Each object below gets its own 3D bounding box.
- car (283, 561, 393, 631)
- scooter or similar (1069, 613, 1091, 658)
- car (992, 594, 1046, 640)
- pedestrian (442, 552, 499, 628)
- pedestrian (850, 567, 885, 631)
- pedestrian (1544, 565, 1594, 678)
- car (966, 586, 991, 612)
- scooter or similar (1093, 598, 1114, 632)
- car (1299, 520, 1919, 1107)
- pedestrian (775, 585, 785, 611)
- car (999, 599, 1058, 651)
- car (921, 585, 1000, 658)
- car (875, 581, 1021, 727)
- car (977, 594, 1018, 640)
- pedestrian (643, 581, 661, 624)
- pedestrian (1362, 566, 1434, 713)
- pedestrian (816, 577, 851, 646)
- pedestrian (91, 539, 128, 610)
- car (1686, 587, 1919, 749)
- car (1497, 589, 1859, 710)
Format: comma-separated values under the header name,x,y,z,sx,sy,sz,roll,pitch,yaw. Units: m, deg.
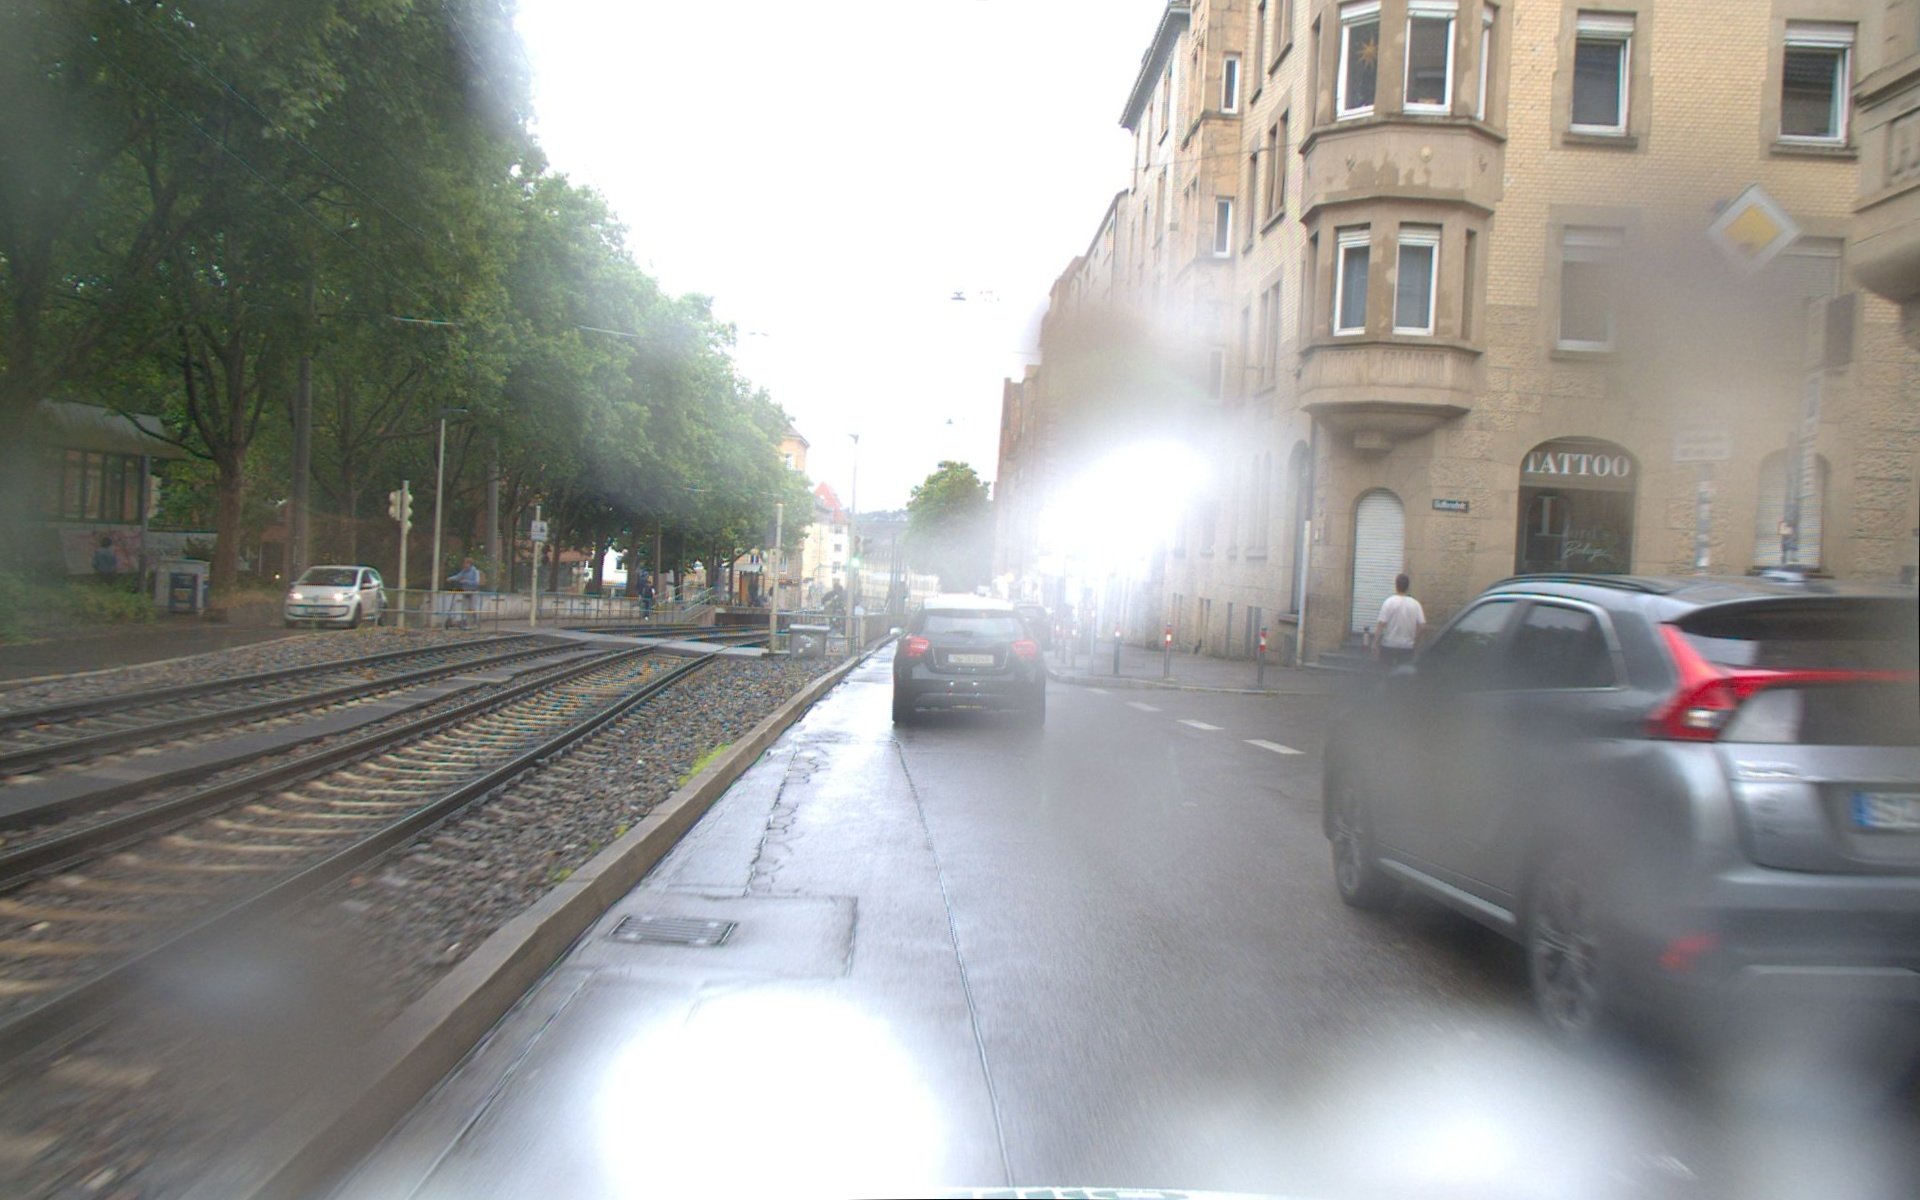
name,x,y,z,sx,sy,sz,roll,pitch,yaw
car,-14.699,-0.112,39.291,1.627,1.523,3.779,2,0,-8
scooter or similar,3.737,1.088,51.545,0.439,1.344,1.776,0,0,-3
car,2.103,0.590,59.964,1.724,1.606,3.999,0,1,-1
pedestrian,-11.715,-0.240,39.612,1.033,1.748,0.904,2,0,0
pedestrian,-3.010,-0.034,53.677,1.115,2.033,1.171,0,0,-5
pedestrian,9.511,0.331,25.845,0.536,1.717,0.627,1,0,3
car,1.501,-0.067,132.682,1.953,2.049,4.000,0,1,0
scooter or similar,5.775,0.595,66.514,0.440,1.344,1.774,0,0,-8
car,2.891,0.644,7.058,1.731,1.697,4.330,3,0,-3
pedestrian,-12.265,-0.110,112.952,0.508,1.747,0.551,4,0,-1
car,2.263,0.807,55.706,1.790,1.646,3.863,0,1,-1
car,-0.012,0.484,39.827,1.749,1.608,3.999,2,0,-1
car,-0.171,0.579,19.745,1.548,1.531,3.573,2,0,-1
car,1.682,0.749,75.660,1.724,2.049,3.999,0,1,-1
pedestrian,-12.947,0.105,69.579,0.523,1.784,0.607,4,0,-1
pedestrian,5.511,0.488,20.851,0.680,1.818,0.758,0,0,-2
pedestrian,-3.088,0.279,40.566,0.789,1.662,0.892,0,0,0
pedestrian,-20.604,-0.608,40.077,0.682,1.691,0.638,1,0,-20
car,9.803,0.636,16.443,4.358,1.510,1.865,0,0,2
car,9.937,0.656,23.138,4.247,1.558,1.892,1,0,1
